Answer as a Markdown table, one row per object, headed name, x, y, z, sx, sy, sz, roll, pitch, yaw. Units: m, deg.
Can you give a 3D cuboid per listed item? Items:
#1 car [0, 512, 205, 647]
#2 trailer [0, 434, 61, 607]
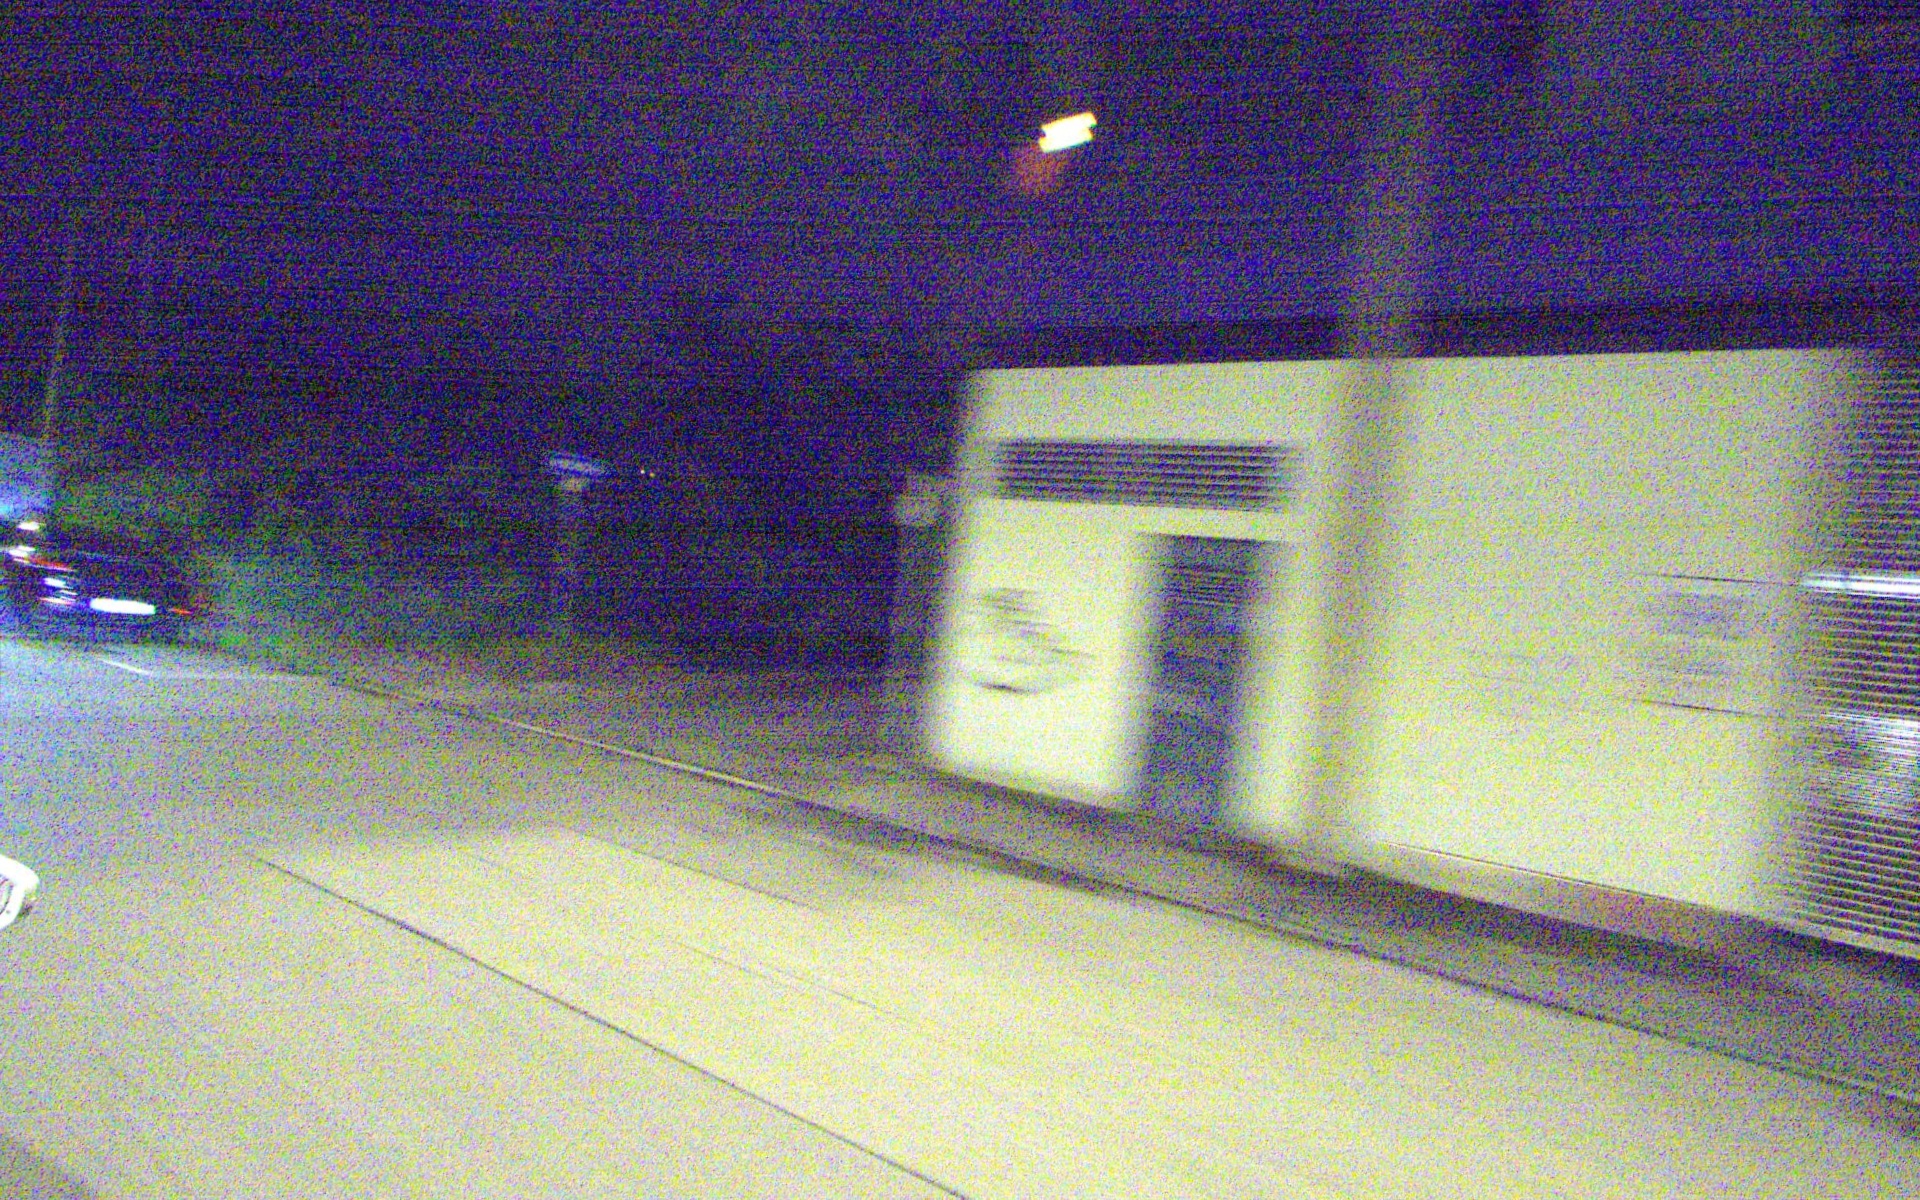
| name | x | y | z | sx | sy | sz | roll | pitch | yaw |
| --- | --- | --- | --- | --- | --- | --- | --- | --- | --- |
| car | -12.465 | -0.393 | 13.713 | 4.597 | 1.403 | 1.730 | 7 | -1 | 30 |
| trailer | -17.121 | -1.506 | 16.855 | 3.937 | 2.682 | 1.995 | 7 | -1 | 35 |
